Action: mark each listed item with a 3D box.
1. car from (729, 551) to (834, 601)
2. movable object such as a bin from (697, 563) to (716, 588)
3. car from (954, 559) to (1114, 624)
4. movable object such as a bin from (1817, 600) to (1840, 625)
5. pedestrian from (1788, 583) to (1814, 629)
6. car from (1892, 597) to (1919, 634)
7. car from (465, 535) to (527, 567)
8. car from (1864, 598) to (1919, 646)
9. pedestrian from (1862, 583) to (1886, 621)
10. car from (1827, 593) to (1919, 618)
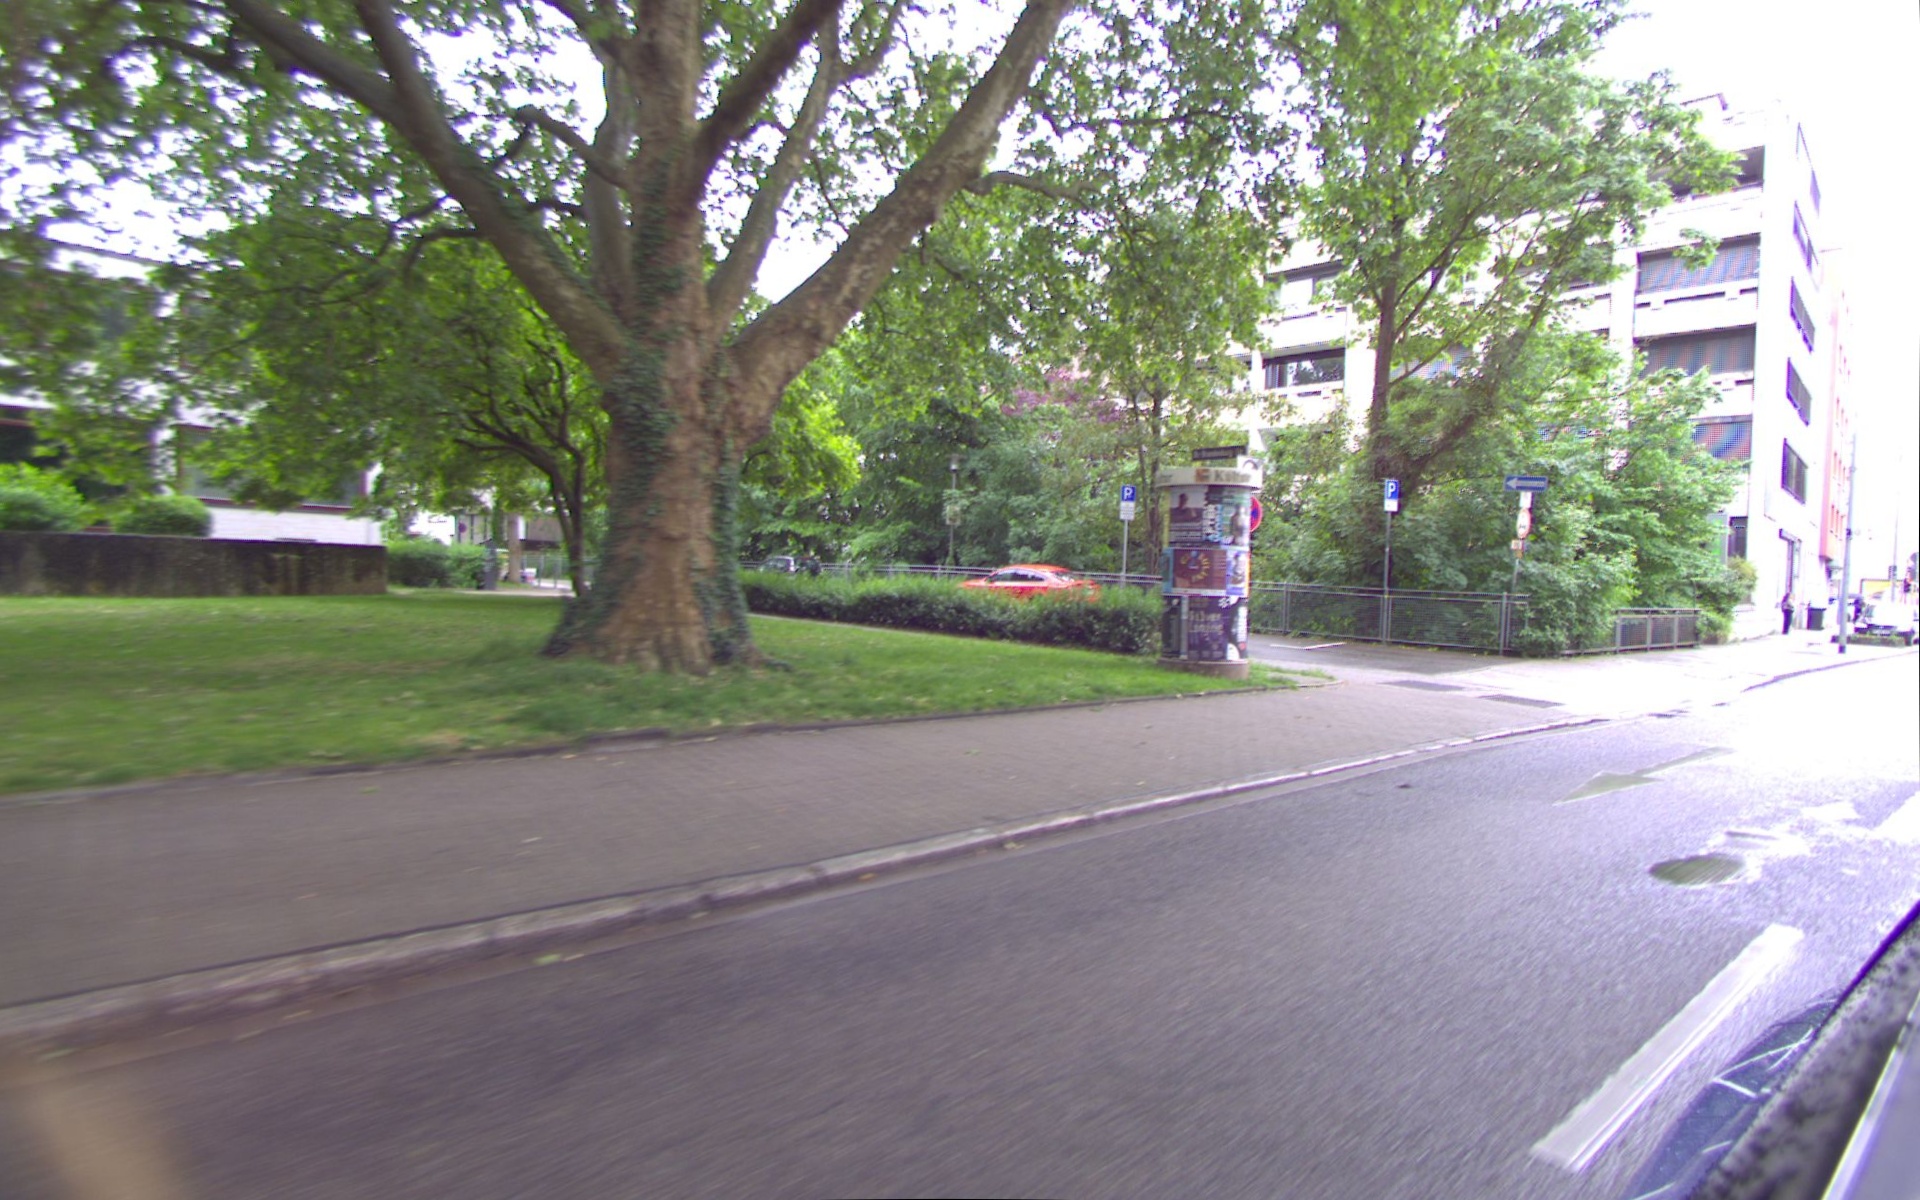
[{"bbox_3d":[-6.343,-0.875,35.726,1.707,1.590,3.925,0,3,-45],"label":"car"},{"bbox_3d":[-10.155,-0.985,40.513,0.573,0.986,0.512,0,-1,-40],"label":"movable object such as a bin"},{"bbox_3d":[1.914,-0.293,27.025,3.989,1.499,1.847,4,4,44],"label":"car"},{"bbox_3d":[39.085,0.552,45.541,0.505,1.117,0.680,1,2,-42],"label":"movable object such as a bin"},{"bbox_3d":[31.821,0.231,38.284,0.598,1.679,0.681,7,4,42],"label":"pedestrian"},{"bbox_3d":[39.652,0.647,41.409,4.492,1.437,1.834,0,3,-43],"label":"car"},{"bbox_3d":[-25.266,-2.667,55.044,3.923,1.590,1.708,4,3,44],"label":"car"},{"bbox_3d":[34.419,0.789,36.952,3.740,1.577,1.705,0,3,-43],"label":"car"},{"bbox_3d":[53.621,0.085,59.393,0.797,2.180,0.732,2,1,26],"label":"pedestrian"},{"bbox_3d":[60.839,0.351,67.218,1.726,1.588,4.687,1,0,-39],"label":"car"}]
